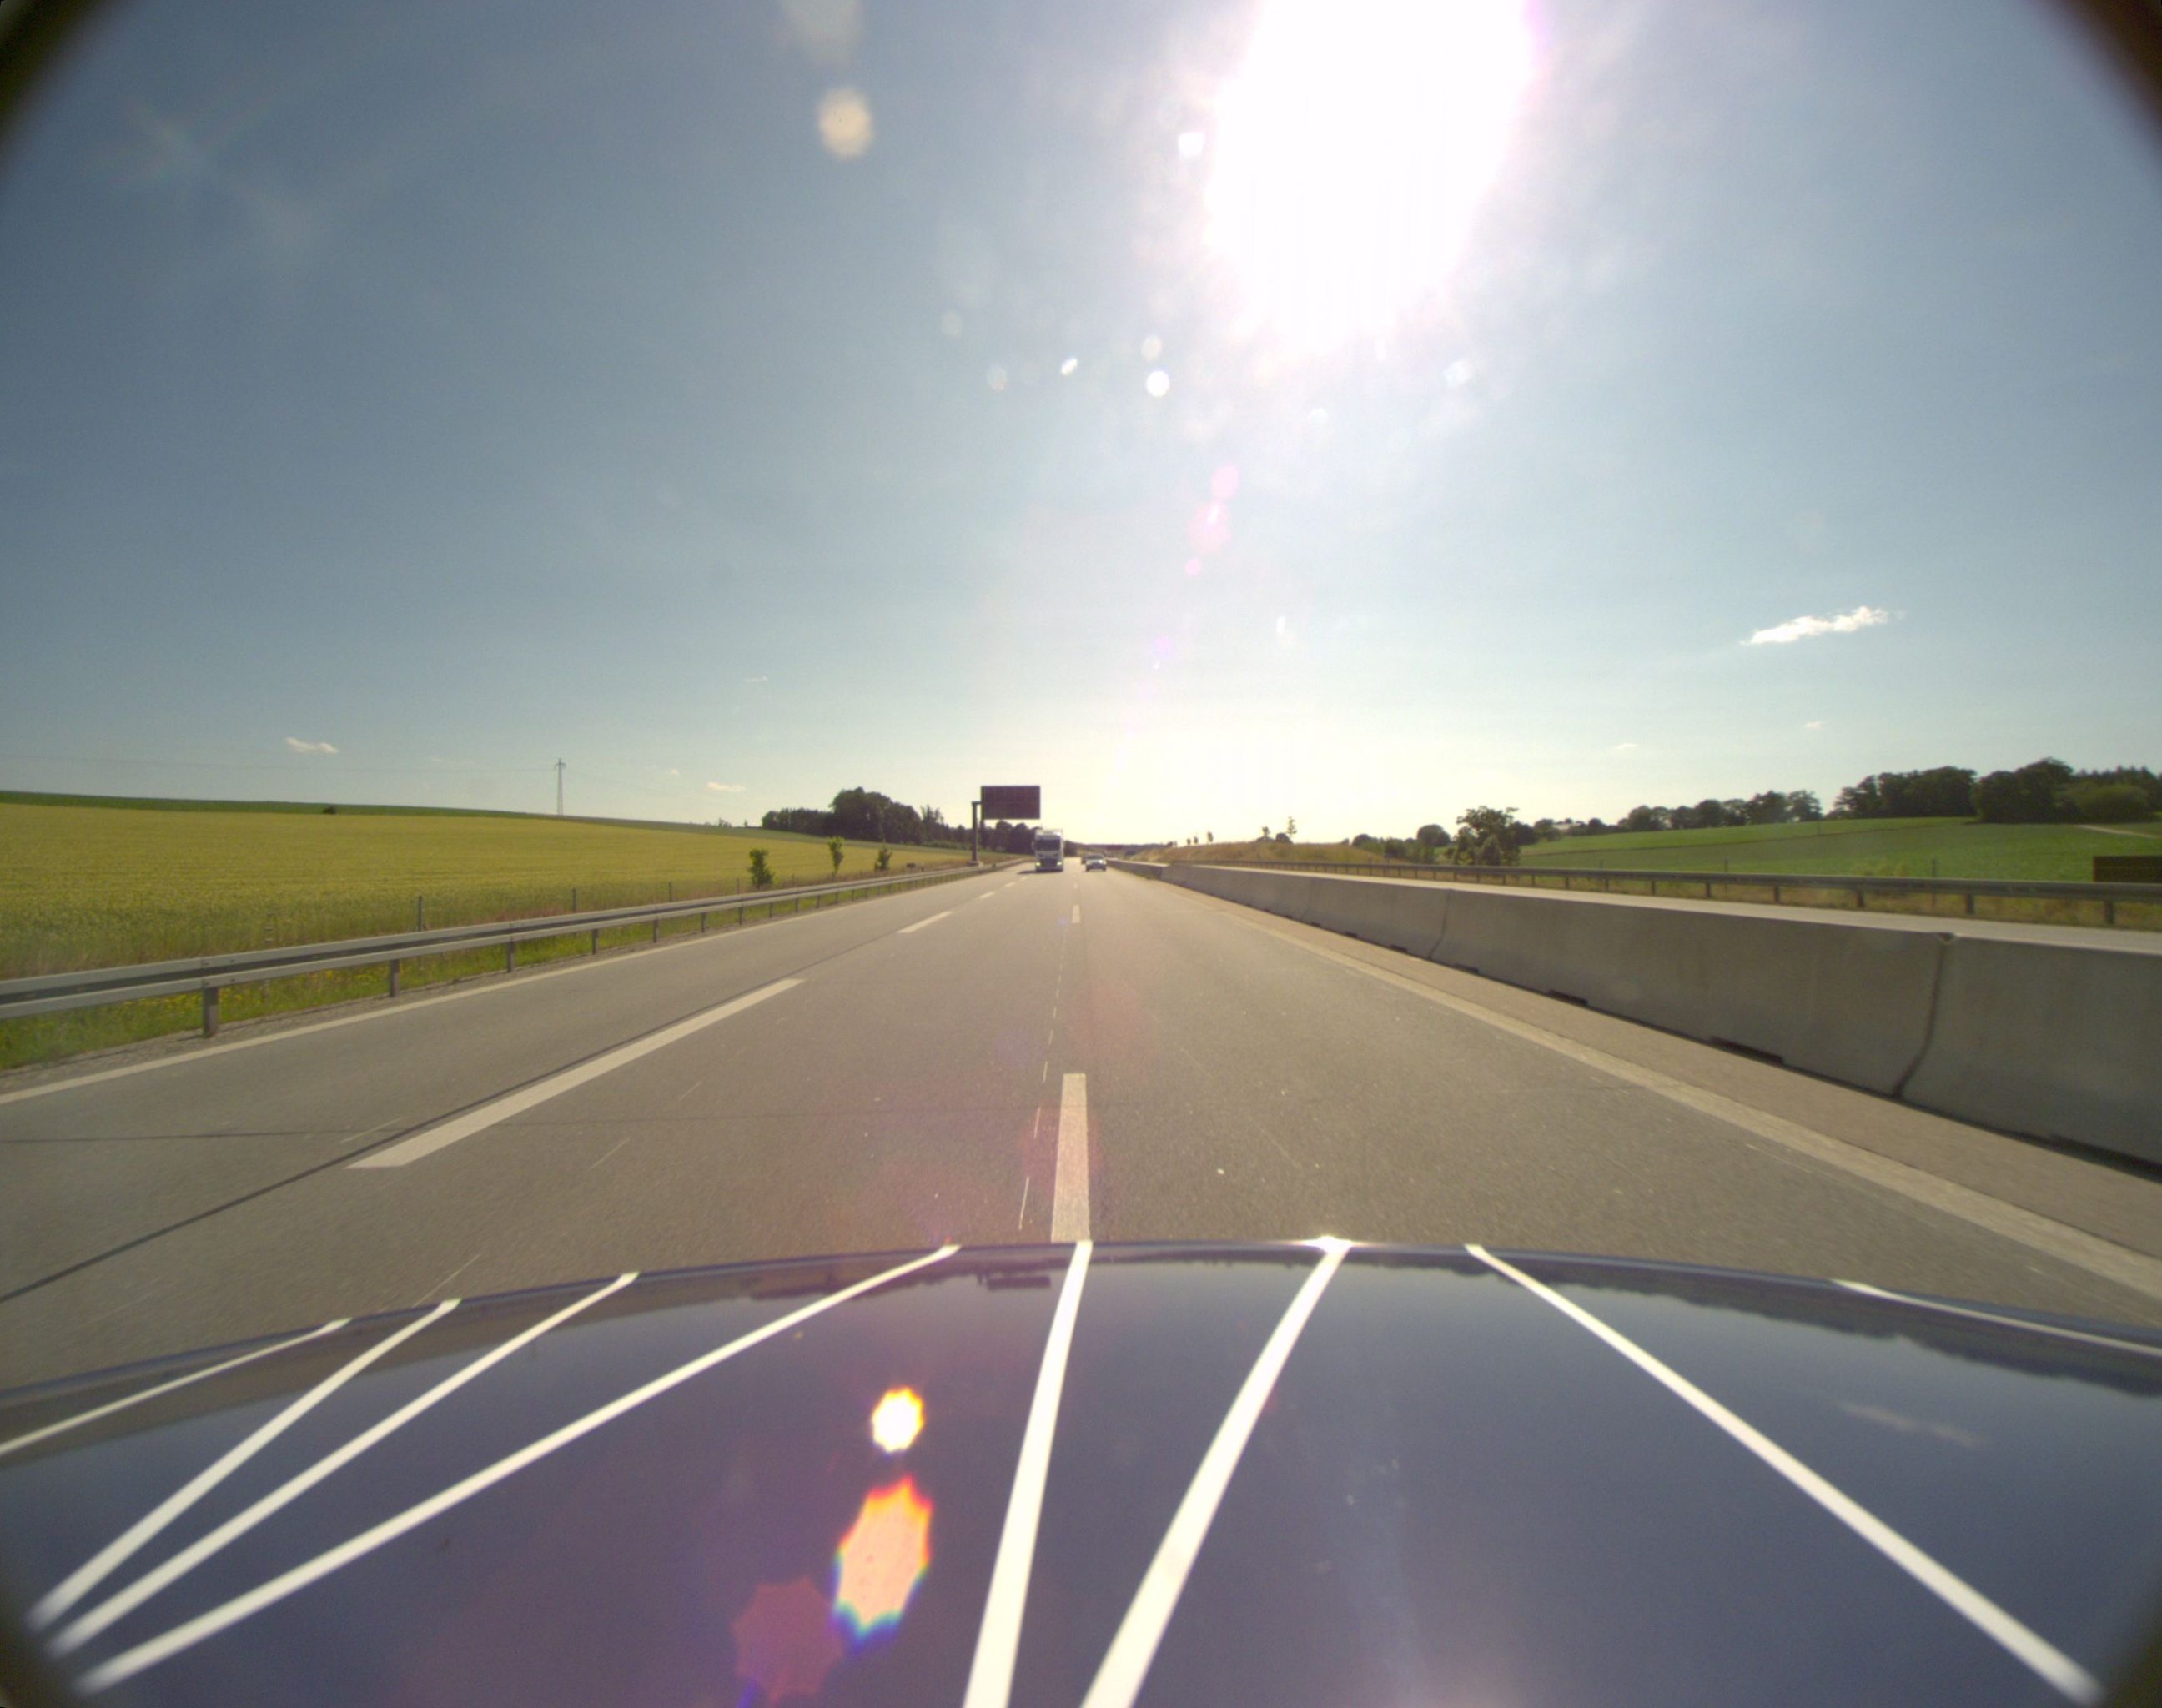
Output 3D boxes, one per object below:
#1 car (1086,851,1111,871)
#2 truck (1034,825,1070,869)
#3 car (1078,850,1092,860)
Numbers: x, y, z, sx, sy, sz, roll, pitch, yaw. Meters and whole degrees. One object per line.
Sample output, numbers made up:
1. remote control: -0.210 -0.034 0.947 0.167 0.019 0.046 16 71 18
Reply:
1. car: 1.513 0.605 66.010 1.891 1.565 3.793 -3 0 5
2. truck: -2.715 -0.670 72.027 3.090 3.991 6.188 1 0 0
3. car: 0.667 0.182 122.592 1.899 1.560 4.001 1 0 3
